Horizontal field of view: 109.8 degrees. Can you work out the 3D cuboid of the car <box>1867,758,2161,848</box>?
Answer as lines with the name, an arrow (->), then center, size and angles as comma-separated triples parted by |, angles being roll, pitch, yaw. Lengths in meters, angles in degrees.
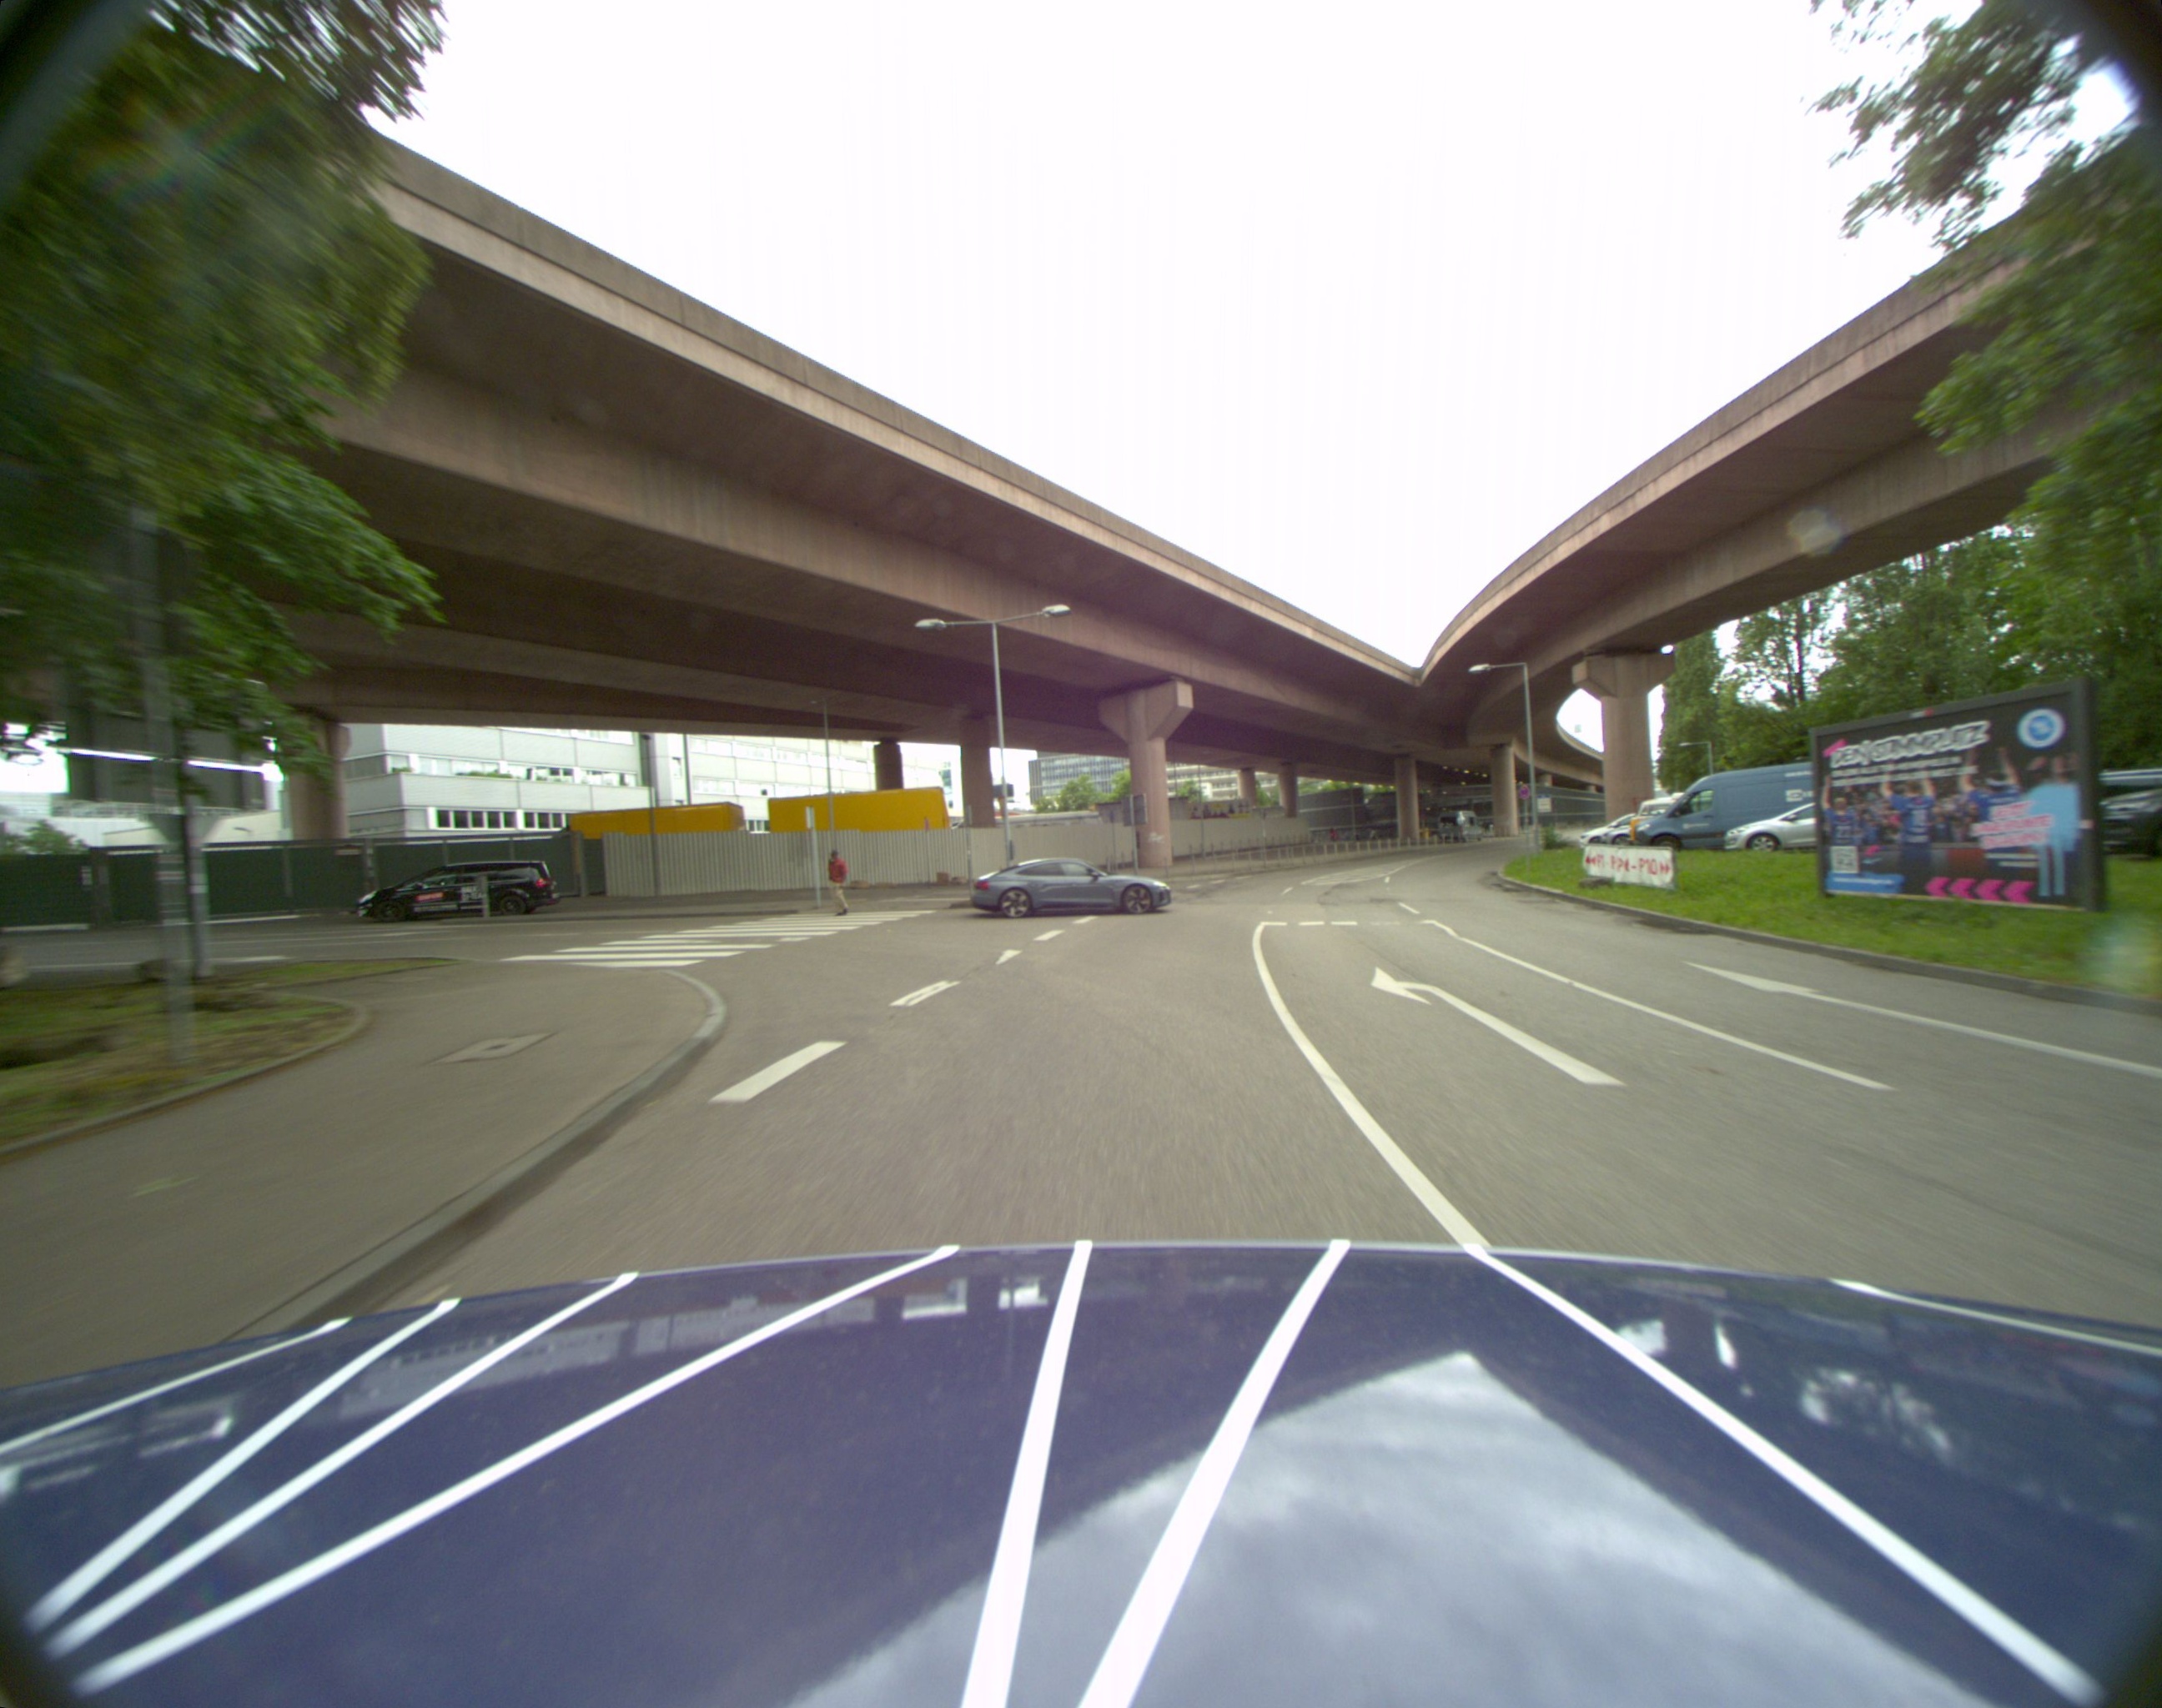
car -> 18.657, -0.950, 14.500 | 4.840, 1.480, 2.080 | -1, 2, 37

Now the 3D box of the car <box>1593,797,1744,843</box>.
car -> 22.855, -1.309, 29.689 | 2.003, 1.363, 4.248 | -4, -1, -39

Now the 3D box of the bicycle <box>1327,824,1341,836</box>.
bicycle -> 25.167, -2.413, 75.604 | 0.802, 1.091, 2.134 | 0, 3, 35

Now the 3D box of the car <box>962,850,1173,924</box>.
car -> -0.391, 0.763, 18.988 | 4.931, 1.493, 2.172 | -3, 2, -5

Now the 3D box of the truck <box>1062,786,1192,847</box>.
truck -> 3.614, -2.972, 60.299 | 9.725, 4.419, 3.144 | -3, 3, -9

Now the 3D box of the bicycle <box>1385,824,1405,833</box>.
bicycle -> 35.393, -2.897, 85.761 | 2.014, 0.921, 0.420 | -2, 1, 31

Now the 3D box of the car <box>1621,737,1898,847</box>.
car -> 21.033, -1.772, 23.846 | 2.372, 2.709, 6.179 | -4, 0, -43

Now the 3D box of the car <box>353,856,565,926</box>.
car -> -18.696, 1.038, 23.169 | 4.566, 1.670, 1.995 | -3, 3, -27

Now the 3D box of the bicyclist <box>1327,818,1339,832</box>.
bicyclist -> 25.036, -2.866, 75.412 | 0.796, 1.398, 1.068 | 0, 3, 34

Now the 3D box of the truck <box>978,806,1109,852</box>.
truck -> -2.629, -1.776, 52.292 | 8.716, 2.929, 3.144 | -1, 4, -7

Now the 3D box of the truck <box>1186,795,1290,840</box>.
truck -> 16.471, -3.867, 79.943 | 10.296, 4.280, 3.010 | -3, 3, -8

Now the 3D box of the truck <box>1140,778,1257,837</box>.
truck -> 10.510, -4.148, 68.296 | 9.725, 4.897, 3.144 | -3, 2, -9

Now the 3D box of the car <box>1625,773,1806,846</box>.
car -> 22.044, -1.498, 26.549 | 1.854, 2.099, 4.559 | -4, 1, -42

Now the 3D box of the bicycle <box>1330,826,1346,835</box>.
bicycle -> 30.293, -2.776, 89.521 | 1.730, 0.976, 0.437 | -2, 1, 38

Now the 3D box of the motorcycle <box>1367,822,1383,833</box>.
motorcycle -> 32.066, -2.891, 82.821 | 0.782, 1.228, 2.541 | 0, 1, 43

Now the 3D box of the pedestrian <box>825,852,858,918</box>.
pedestrian -> -6.213, 0.794, 19.737 | 0.536, 1.666, 0.559 | 0, 2, 28

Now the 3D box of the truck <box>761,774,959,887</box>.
truck -> -10.621, -1.177, 37.483 | 8.716, 4.890, 3.145 | -3, 2, -8

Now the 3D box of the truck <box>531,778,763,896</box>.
truck -> -20.247, -0.819, 36.076 | 8.716, 4.876, 3.145 | -3, 2, -8

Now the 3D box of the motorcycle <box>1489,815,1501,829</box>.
motorcycle -> 41.928, -3.268, 76.934 | 0.796, 1.359, 2.132 | -1, 2, 23

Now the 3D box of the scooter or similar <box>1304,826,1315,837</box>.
scooter or similar -> 27.199, -2.720, 90.515 | 0.544, 1.211, 1.679 | 0, -2, -8

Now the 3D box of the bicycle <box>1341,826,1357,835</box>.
bicycle -> 34.323, -3.009, 97.245 | 1.783, 1.073, 0.437 | -2, 1, 30

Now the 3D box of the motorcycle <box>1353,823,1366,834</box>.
motorcycle -> 30.780, -2.797, 83.928 | 0.543, 1.099, 2.335 | -2, -2, 40

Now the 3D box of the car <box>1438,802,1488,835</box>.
car -> 32.312, -3.029, 64.133 | 1.994, 2.598, 6.085 | 0, 3, 44

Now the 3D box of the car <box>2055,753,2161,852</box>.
car -> 18.346, -0.858, 11.348 | 4.437, 1.503, 1.900 | -1, 2, 44

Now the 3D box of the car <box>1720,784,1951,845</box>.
car -> 20.273, -1.021, 20.645 | 4.281, 1.407, 2.003 | -1, 2, 45

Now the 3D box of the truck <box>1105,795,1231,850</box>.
truck -> 7.316, -2.702, 64.249 | 10.065, 4.160, 2.895 | -3, 3, -8

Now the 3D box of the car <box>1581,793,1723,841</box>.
car -> 24.104, -1.528, 32.224 | 1.957, 1.596, 4.385 | -4, -1, -37

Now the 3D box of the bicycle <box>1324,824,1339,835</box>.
bicycle -> 28.611, -2.843, 86.813 | 0.621, 1.099, 2.328 | 0, -2, -11

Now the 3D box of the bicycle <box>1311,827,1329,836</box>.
bicycle -> 28.616, -2.721, 91.101 | 0.396, 1.017, 2.057 | -3, 1, -45
